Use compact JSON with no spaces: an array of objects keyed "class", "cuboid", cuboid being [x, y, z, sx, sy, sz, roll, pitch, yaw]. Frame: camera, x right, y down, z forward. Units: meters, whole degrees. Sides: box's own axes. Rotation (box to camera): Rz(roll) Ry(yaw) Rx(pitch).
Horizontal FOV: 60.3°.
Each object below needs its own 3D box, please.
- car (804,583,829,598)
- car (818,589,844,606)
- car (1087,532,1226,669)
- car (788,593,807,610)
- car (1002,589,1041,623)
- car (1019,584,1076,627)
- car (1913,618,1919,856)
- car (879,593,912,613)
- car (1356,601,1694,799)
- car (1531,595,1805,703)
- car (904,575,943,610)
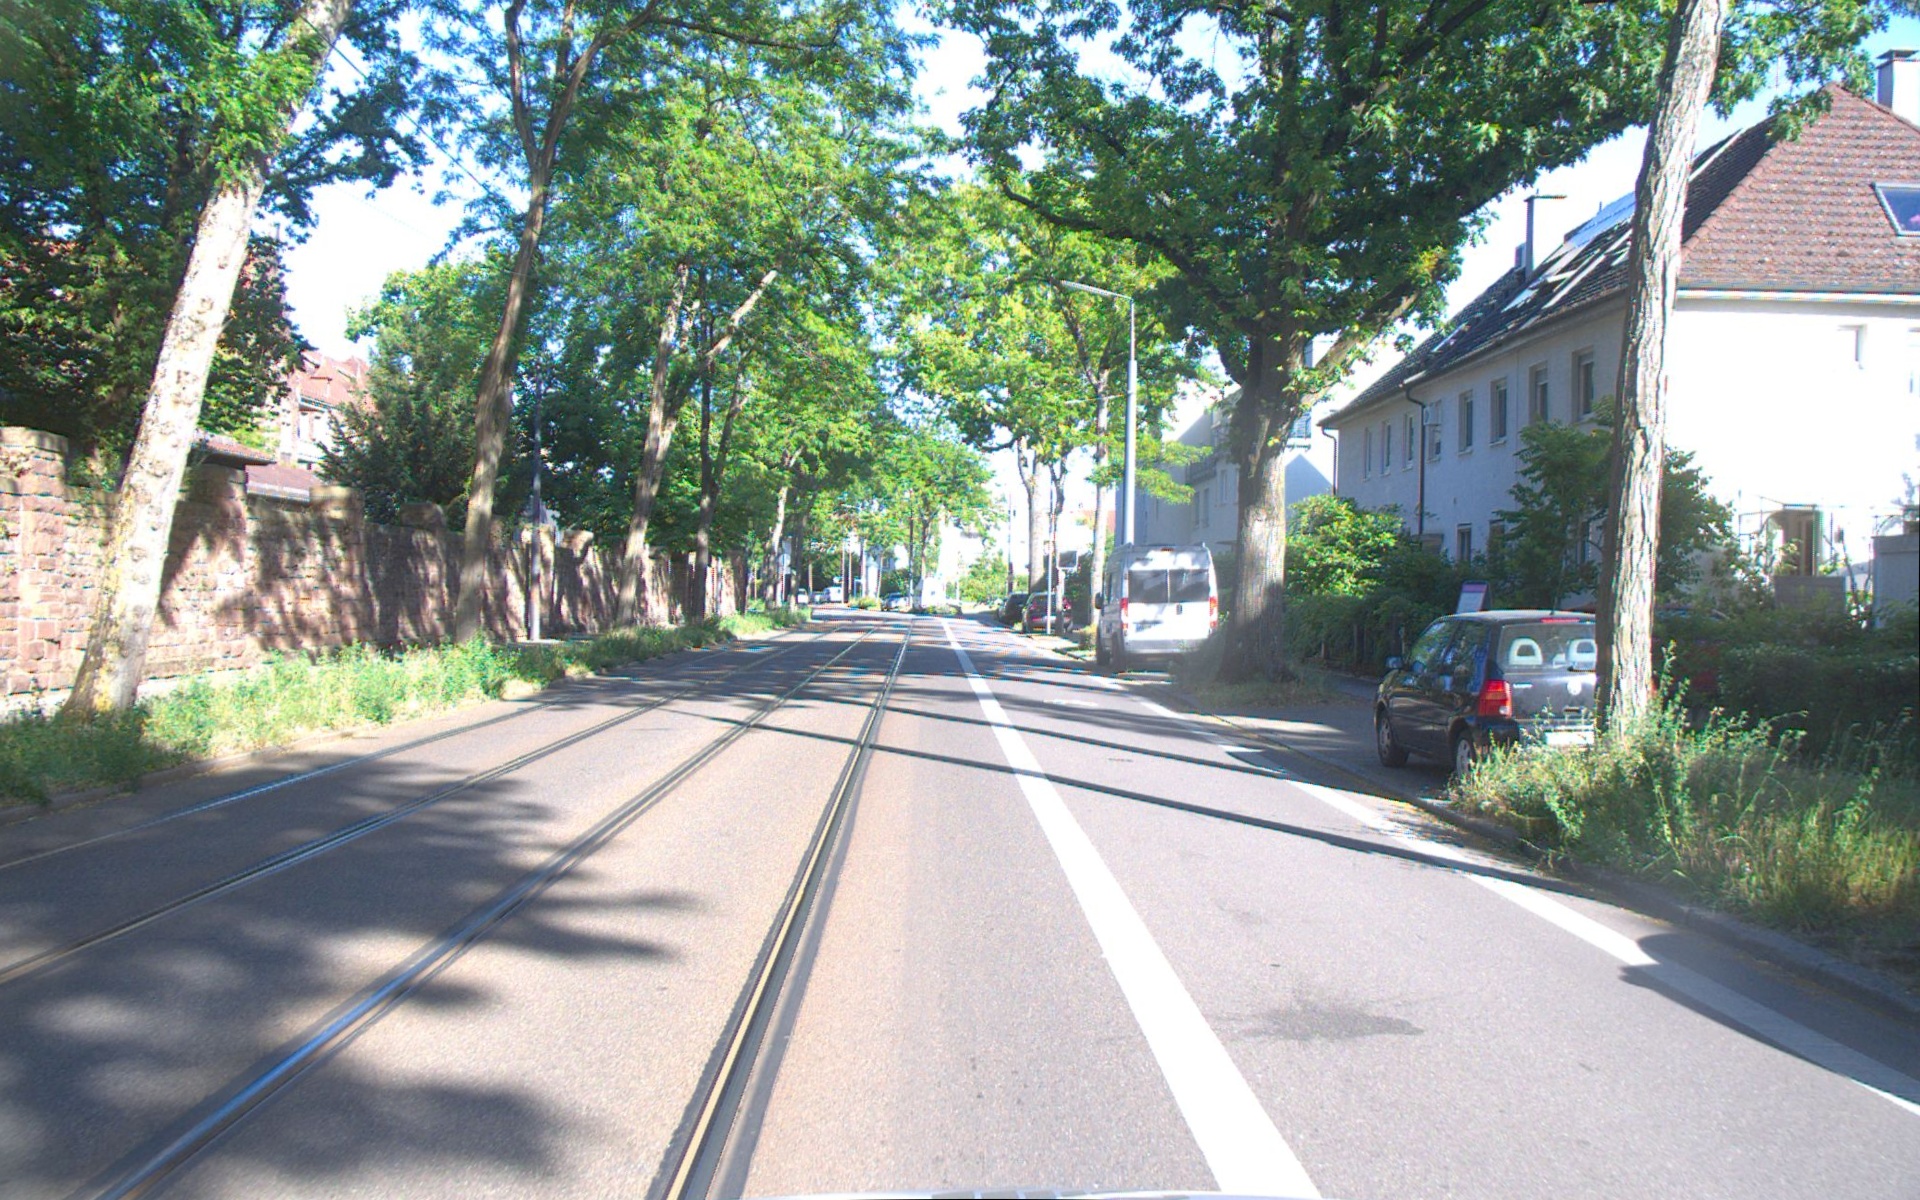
[{"class":"car","cuboid":[-16.896,-1.099,194.274,1.972,1.704,4.150,-1,0,-19]},{"class":"car","cuboid":[-14.682,-0.263,187.913,1.972,1.943,4.368,-1,0,-19]},{"class":"car","cuboid":[4.144,-0.005,35.866,2.200,2.700,5.584,-1,0,-1]},{"class":"car","cuboid":[-16.504,0.122,167.864,1.829,1.704,4.169,0,0,-4]},{"class":"car","cuboid":[3.179,0.287,85.313,1.961,1.704,4.394,-1,0,3]},{"class":"car","cuboid":[3.551,0.210,67.794,1.962,1.704,4.391,-1,0,-2]},{"class":"car","cuboid":[4.953,0.803,4.769,1.748,1.473,4.299,-2,1,-3]},{"class":"car","cuboid":[-5.469,0.232,138.981,1.968,1.588,4.377,0,0,-13]},{"class":"car","cuboid":[4.750,0.762,14.437,1.594,1.422,3.644,-2,1,-2]},{"class":"car","cuboid":[10.356,0.676,24.270,3.340,1.461,1.728,-1,0,-14]},{"class":"car","cuboid":[-2.706,-0.535,121.300,1.960,2.501,4.492,0,0,-14]}]
